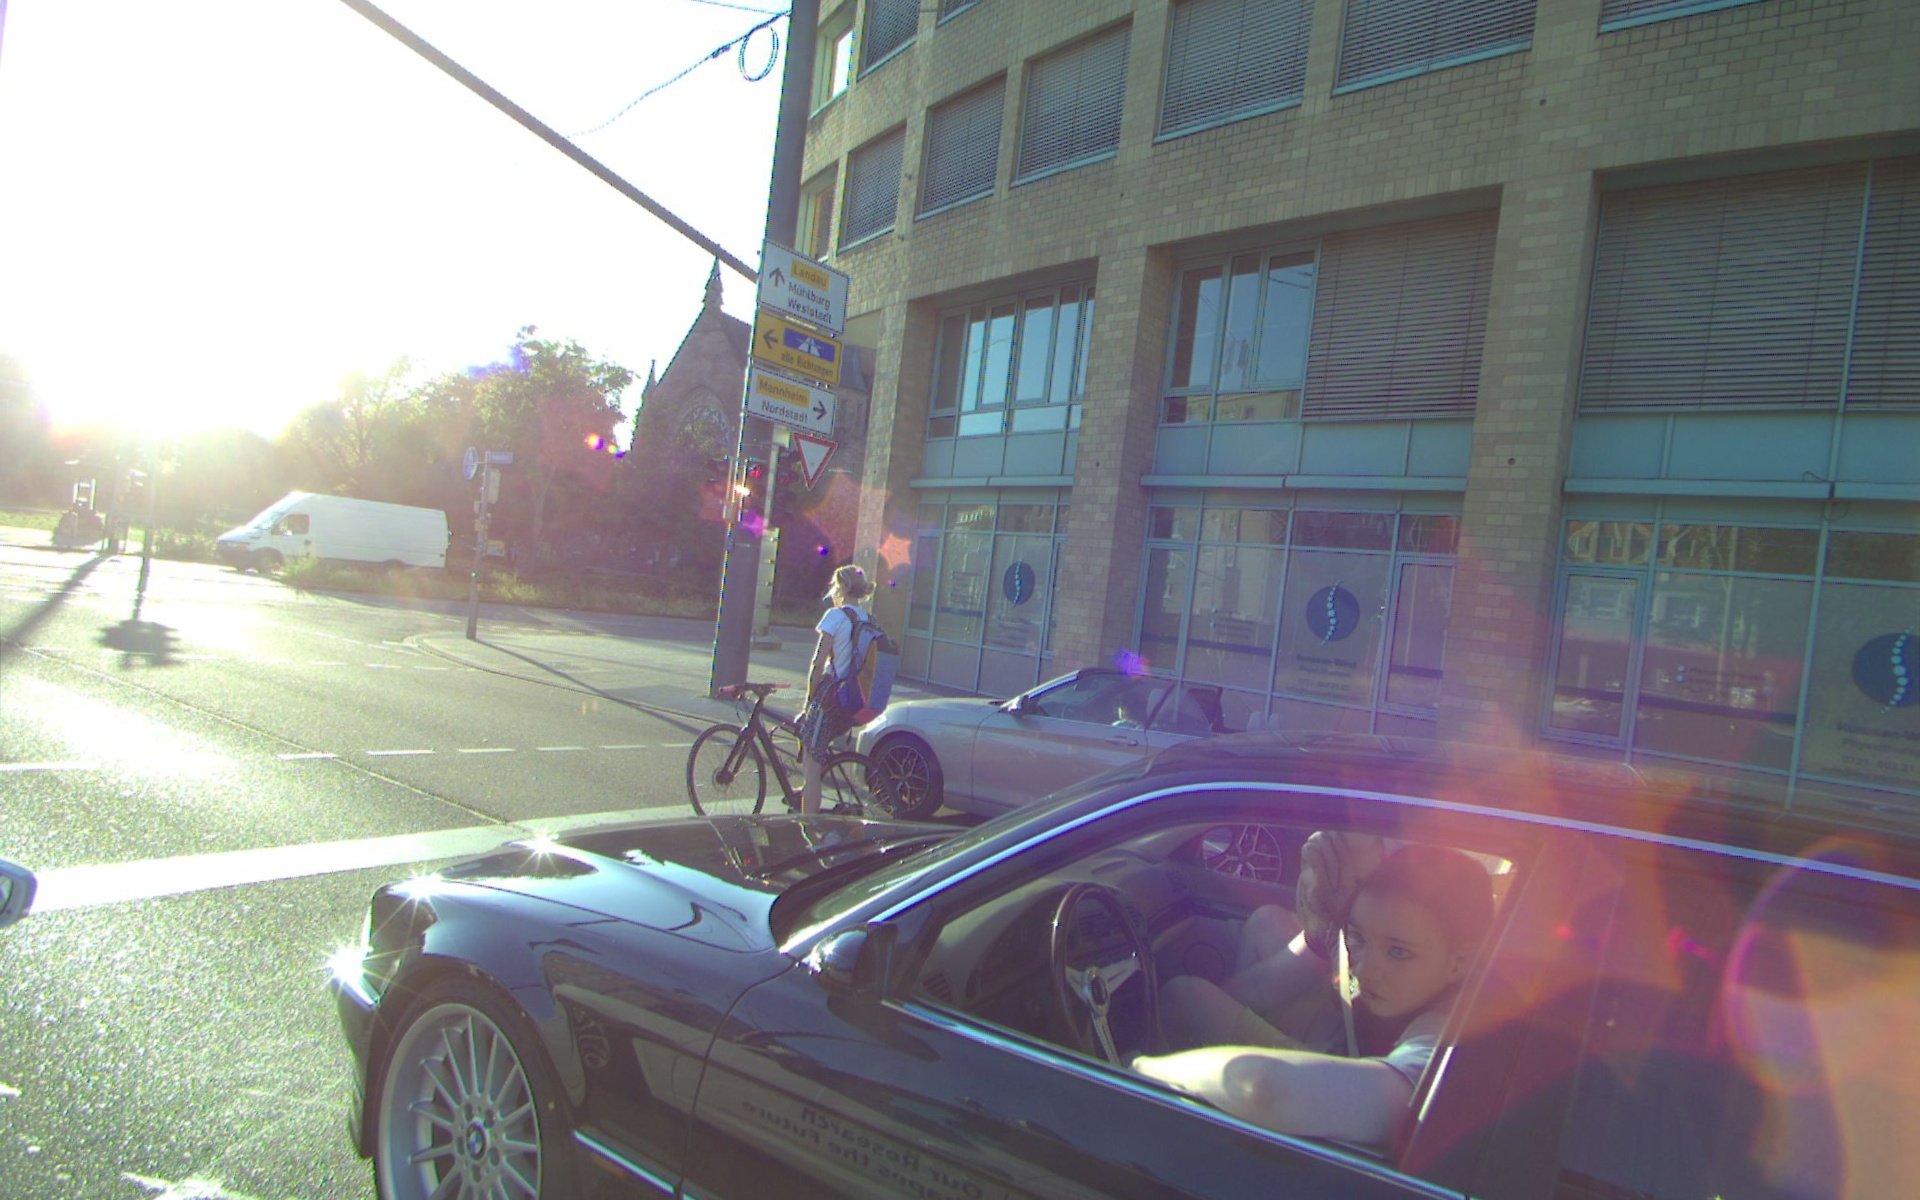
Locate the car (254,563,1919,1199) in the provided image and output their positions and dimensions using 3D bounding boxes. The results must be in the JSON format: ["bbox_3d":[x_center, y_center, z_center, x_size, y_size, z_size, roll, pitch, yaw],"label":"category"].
[{"bbox_3d":[0.887,0.933,2.005,4.661,1.402,1.997,7,-1,32],"label":"car"}]

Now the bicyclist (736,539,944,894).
[{"bbox_3d":[-0.685,0.630,5.808,0.764,1.843,0.634,7,1,30],"label":"bicyclist"}]

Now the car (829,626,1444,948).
[{"bbox_3d":[1.243,1.196,7.682,4.157,1.401,1.747,7,-1,31],"label":"car"}]

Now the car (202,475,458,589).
[{"bbox_3d":[-21.281,-2.194,34.436,2.059,2.862,7.017,7,0,33],"label":"car"}]

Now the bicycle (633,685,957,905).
[{"bbox_3d":[-1.014,1.081,5.990,1.838,0.884,0.634,7,0,30],"label":"bicycle"}]
